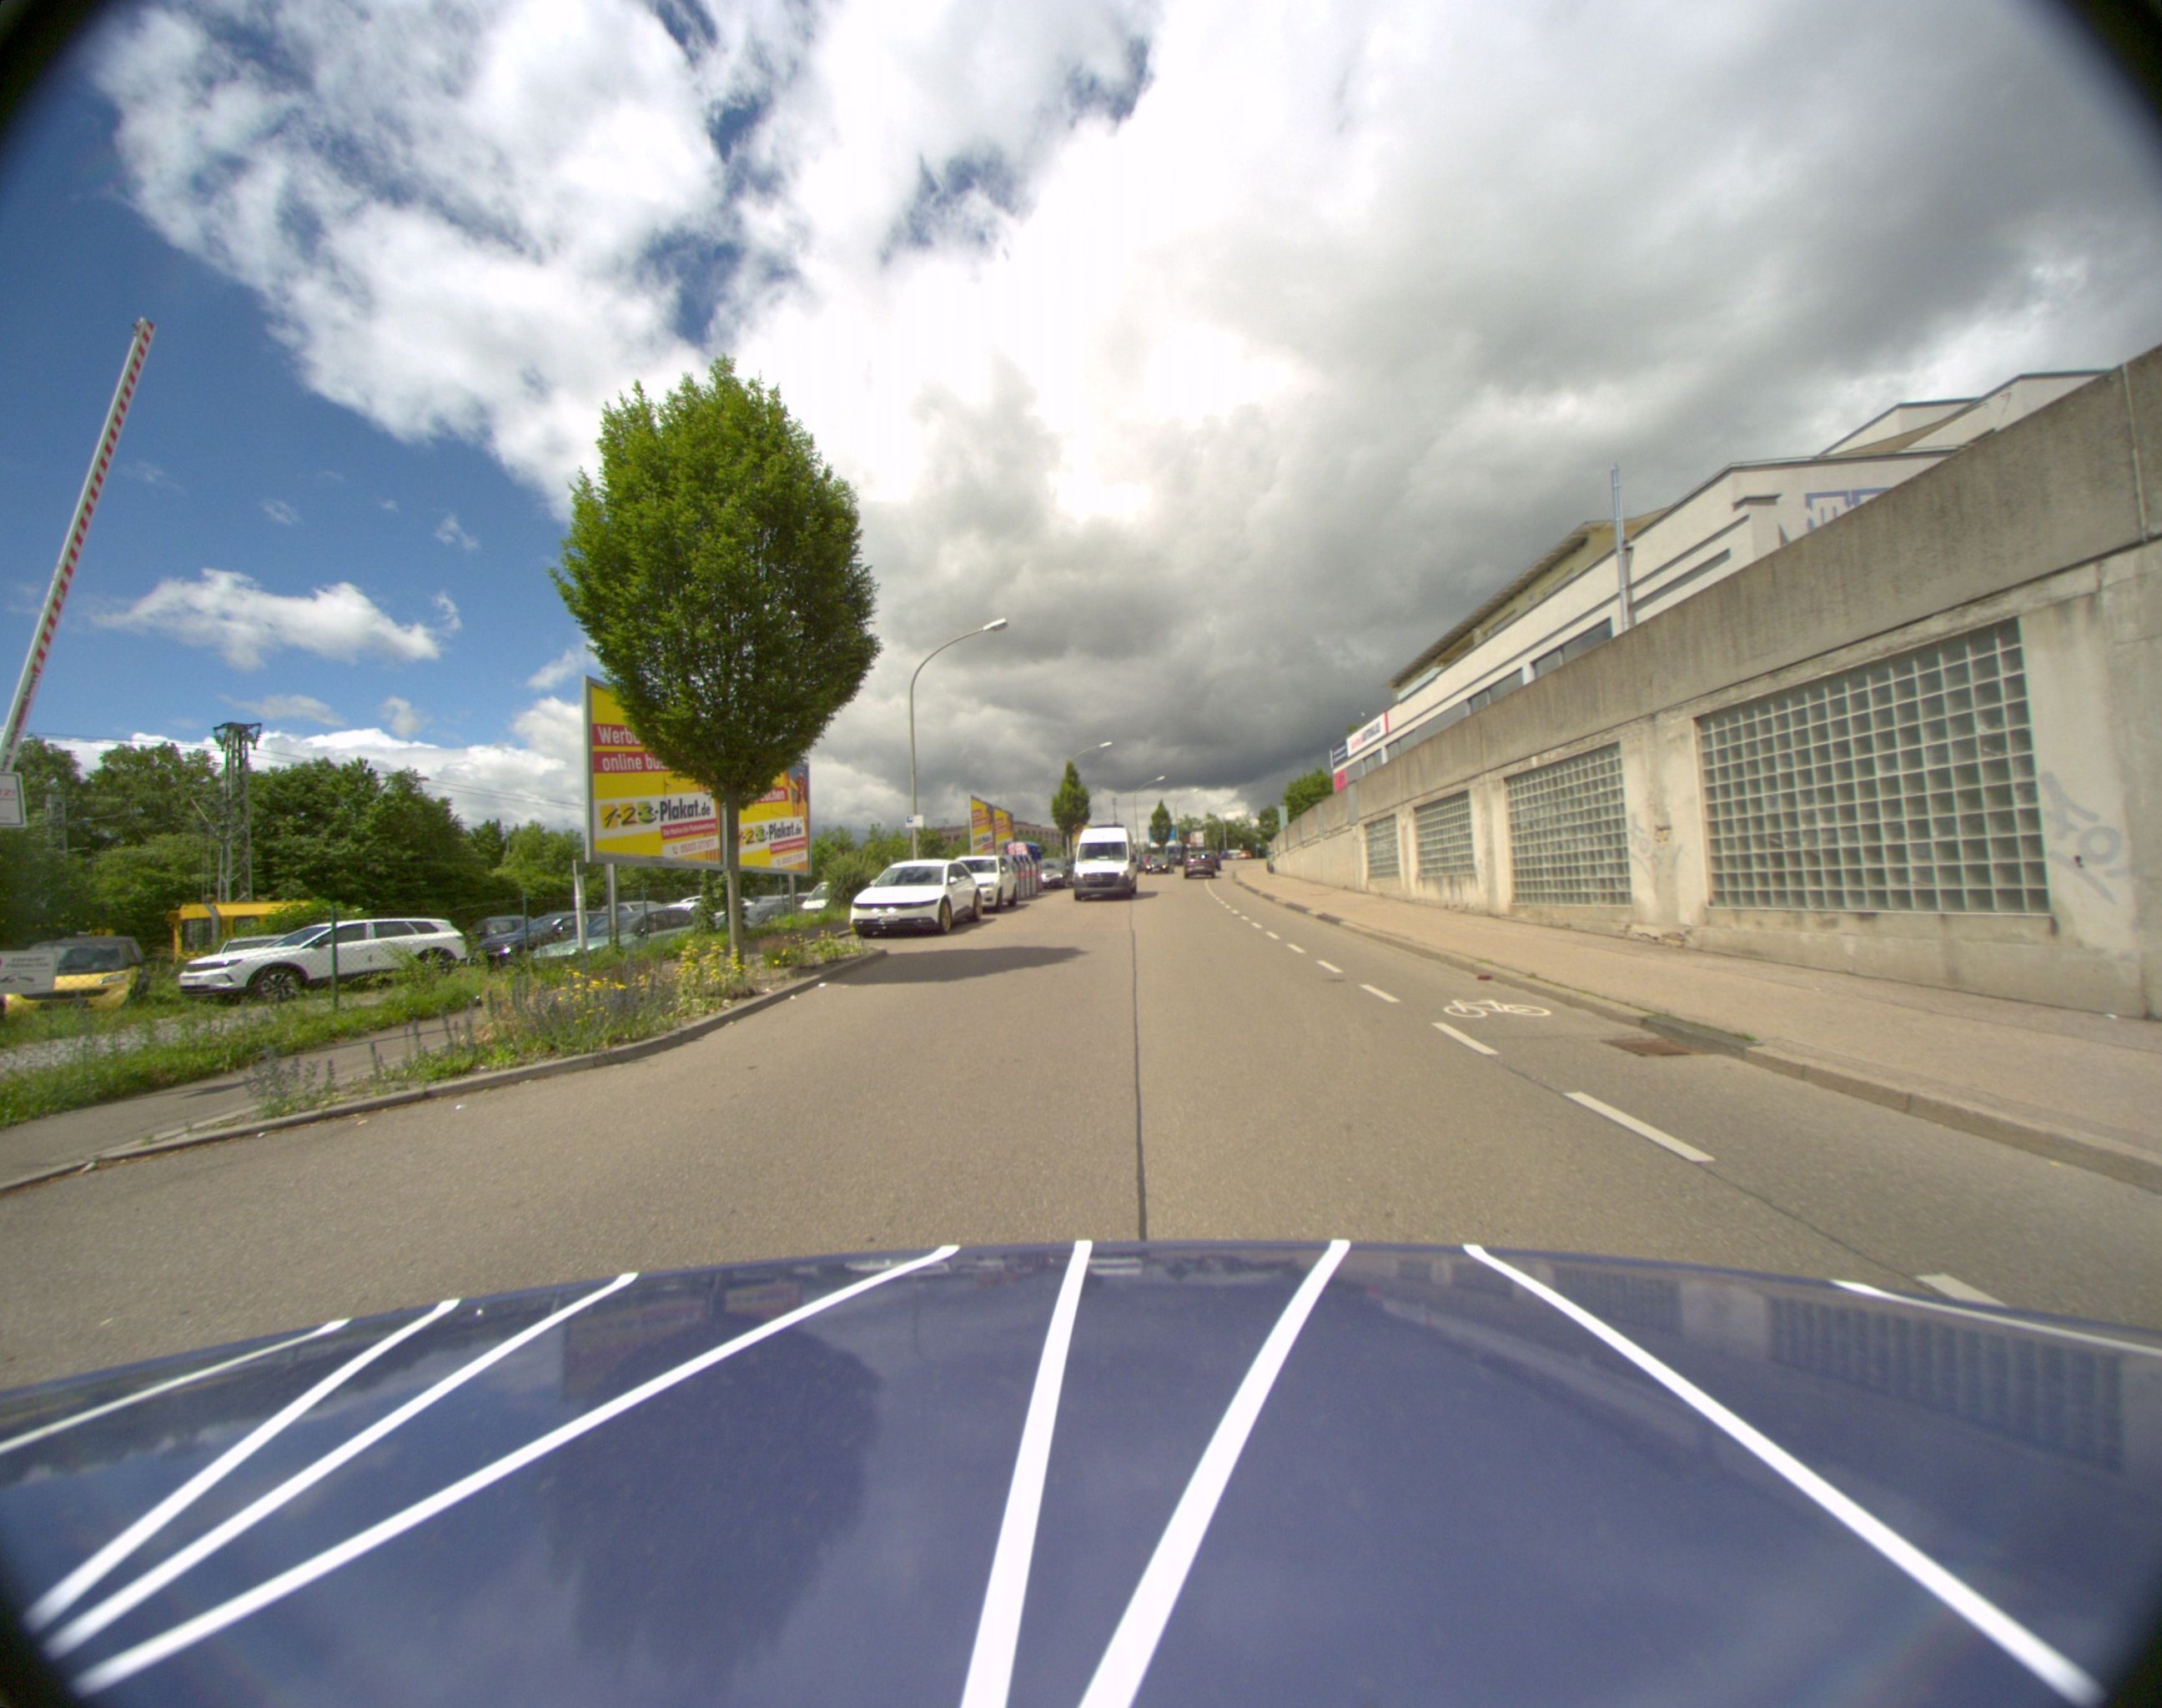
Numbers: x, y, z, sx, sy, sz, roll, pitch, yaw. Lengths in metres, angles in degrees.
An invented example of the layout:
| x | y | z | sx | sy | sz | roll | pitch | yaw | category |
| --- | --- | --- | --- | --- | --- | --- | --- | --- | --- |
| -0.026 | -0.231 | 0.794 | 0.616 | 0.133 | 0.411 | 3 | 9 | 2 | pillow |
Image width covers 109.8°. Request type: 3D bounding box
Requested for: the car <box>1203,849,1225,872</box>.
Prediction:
| x | y | z | sx | sy | sz | roll | pitch | yaw | category |
| --- | --- | --- | --- | --- | --- | --- | --- | --- | --- |
| 10.946 | 0.530 | 62.680 | 1.629 | 1.806 | 3.782 | -1 | 1 | 7 | car |

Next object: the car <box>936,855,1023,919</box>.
| x | y | z | sx | sy | sz | roll | pitch | yaw | category |
| --- | --- | --- | --- | --- | --- | --- | --- | --- | --- |
| -2.958 | 0.900 | 23.012 | 1.689 | 1.649 | 4.481 | -2 | 0 | 4 | car |

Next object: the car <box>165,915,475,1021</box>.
| x | y | z | sx | sy | sz | roll | pitch | yaw | category |
| --- | --- | --- | --- | --- | --- | --- | --- | --- | --- |
| -17.129 | 2.448 | 17.470 | 1.751 | 1.675 | 4.686 | -1 | 0 | 23 | car |

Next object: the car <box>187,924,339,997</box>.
| x | y | z | sx | sy | sz | roll | pitch | yaw | category |
| --- | --- | --- | --- | --- | --- | --- | --- | --- | --- |
| -21.101 | 2.660 | 19.565 | 4.176 | 1.382 | 1.793 | -1 | 1 | 31 | car |

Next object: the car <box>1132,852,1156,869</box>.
| x | y | z | sx | sy | sz | roll | pitch | yaw | category |
| --- | --- | --- | --- | --- | --- | --- | --- | --- | --- |
| 5.932 | 0.585 | 71.357 | 1.595 | 1.473 | 3.504 | -3 | 0 | 15 | car |

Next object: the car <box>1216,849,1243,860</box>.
| x | y | z | sx | sy | sz | roll | pitch | yaw | category |
| --- | --- | --- | --- | --- | --- | --- | --- | --- | --- |
| 31.052 | 0.064 | 158.641 | 5.133 | 1.958 | 1.959 | -3 | 1 | -14 | car |

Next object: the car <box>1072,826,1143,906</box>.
| x | y | z | sx | sy | sz | roll | pitch | yaw | category |
| --- | --- | --- | --- | --- | --- | --- | --- | --- | --- |
| 1.125 | 0.388 | 28.338 | 2.081 | 2.576 | 6.065 | -3 | 0 | 6 | car |

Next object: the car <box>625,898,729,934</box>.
| x | y | z | sx | sy | sz | roll | pitch | yaw | category |
| --- | --- | --- | --- | --- | --- | --- | --- | --- | --- |
| -17.100 | 2.622 | 32.147 | 3.990 | 1.322 | 1.758 | -2 | 0 | 25 | car |

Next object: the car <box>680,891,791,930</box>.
| x | y | z | sx | sy | sz | roll | pitch | yaw | category |
| --- | --- | --- | --- | --- | --- | --- | --- | --- | --- |
| -15.557 | 2.546 | 34.235 | 4.451 | 1.545 | 2.003 | -2 | 0 | 22 | car |

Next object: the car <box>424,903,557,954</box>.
| x | y | z | sx | sy | sz | roll | pitch | yaw | category |
| --- | --- | --- | --- | --- | --- | --- | --- | --- | --- |
| -19.411 | 2.393 | 24.966 | 4.033 | 1.382 | 1.747 | -1 | 1 | 25 | car |

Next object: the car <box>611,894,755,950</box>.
| x | y | z | sx | sy | sz | roll | pitch | yaw | category |
| --- | --- | --- | --- | --- | --- | --- | --- | --- | --- |
| -13.997 | 2.330 | 27.052 | 1.753 | 1.509 | 4.588 | -1 | 1 | 18 | car |

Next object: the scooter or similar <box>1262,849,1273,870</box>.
| x | y | z | sx | sy | sz | roll | pitch | yaw | category |
| --- | --- | --- | --- | --- | --- | --- | --- | --- | --- |
| 11.750 | 0.319 | 47.825 | 0.558 | 1.268 | 1.306 | -3 | 1 | 12 | scooter or similar |

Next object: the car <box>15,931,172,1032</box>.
| x | y | z | sx | sy | sz | roll | pitch | yaw | category |
| --- | --- | --- | --- | --- | --- | --- | --- | --- | --- |
| -19.499 | 2.415 | 15.157 | 4.031 | 1.382 | 1.527 | 0 | 1 | 43 | car |

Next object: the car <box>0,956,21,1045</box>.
| x | y | z | sx | sy | sz | roll | pitch | yaw | category |
| --- | --- | --- | --- | --- | --- | --- | --- | --- | --- |
| -17.112 | 2.290 | 10.483 | 1.747 | 1.381 | 4.034 | -2 | -2 | -37 | car |

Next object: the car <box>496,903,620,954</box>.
| x | y | z | sx | sy | sz | roll | pitch | yaw | category |
| --- | --- | --- | --- | --- | --- | --- | --- | --- | --- |
| -18.741 | 2.630 | 27.242 | 3.990 | 1.602 | 1.799 | -2 | 1 | 25 | car |

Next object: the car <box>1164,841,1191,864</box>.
| x | y | z | sx | sy | sz | roll | pitch | yaw | category |
| --- | --- | --- | --- | --- | --- | --- | --- | --- | --- |
| 11.267 | -0.207 | 88.491 | 2.057 | 2.579 | 5.741 | -3 | 0 | 18 | car |

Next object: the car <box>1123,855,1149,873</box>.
| x | y | z | sx | sy | sz | roll | pitch | yaw | category |
| --- | --- | --- | --- | --- | --- | --- | --- | --- | --- |
| 4.885 | 0.850 | 66.948 | 1.595 | 1.442 | 3.983 | -3 | 0 | 14 | car |

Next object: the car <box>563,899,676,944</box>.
| x | y | z | sx | sy | sz | roll | pitch | yaw | category |
| --- | --- | --- | --- | --- | --- | --- | --- | --- | --- |
| -18.166 | 2.616 | 29.919 | 3.990 | 1.550 | 1.825 | -2 | 1 | 25 | car |

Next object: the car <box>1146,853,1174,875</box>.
| x | y | z | sx | sy | sz | roll | pitch | yaw | category |
| --- | --- | --- | --- | --- | --- | --- | --- | --- | --- |
| 5.995 | 0.759 | 57.377 | 1.583 | 1.497 | 3.961 | -3 | 0 | 13 | car |

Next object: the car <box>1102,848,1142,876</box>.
| x | y | z | sx | sy | sz | roll | pitch | yaw | category |
| --- | --- | --- | --- | --- | --- | --- | --- | --- | --- |
| 3.300 | 0.569 | 59.923 | 1.978 | 1.992 | 5.552 | -3 | 0 | 14 | car |

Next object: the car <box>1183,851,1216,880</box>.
| x | y | z | sx | sy | sz | roll | pitch | yaw | category |
| --- | --- | --- | --- | --- | --- | --- | --- | --- | --- |
| 7.258 | 0.672 | 46.780 | 1.803 | 1.613 | 4.094 | -1 | 0 | 6 | car |

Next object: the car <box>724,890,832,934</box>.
| x | y | z | sx | sy | sz | roll | pitch | yaw | category |
| --- | --- | --- | --- | --- | --- | --- | --- | --- | --- |
| -12.561 | 2.384 | 31.806 | 1.696 | 1.438 | 4.159 | -3 | 0 | 23 | car |

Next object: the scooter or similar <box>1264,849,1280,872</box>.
| x | y | z | sx | sy | sz | roll | pitch | yaw | category |
| --- | --- | --- | --- | --- | --- | --- | --- | --- | --- |
| 11.076 | 0.379 | 44.092 | 0.520 | 1.268 | 1.383 | -5 | 0 | 2 | scooter or similar |

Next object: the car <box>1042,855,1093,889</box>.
| x | y | z | sx | sy | sz | roll | pitch | yaw | category |
| --- | --- | --- | --- | --- | --- | --- | --- | --- | --- |
| -0.604 | 0.849 | 37.389 | 1.658 | 1.477 | 4.047 | -1 | 1 | 11 | car |

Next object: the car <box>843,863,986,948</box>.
| x | y | z | sx | sy | sz | roll | pitch | yaw | category |
| --- | --- | --- | --- | --- | --- | --- | --- | --- | --- |
| -3.545 | 1.042 | 17.150 | 1.846 | 1.556 | 4.467 | -1 | 1 | 5 | car |

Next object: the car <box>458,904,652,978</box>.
| x | y | z | sx | sy | sz | roll | pitch | yaw | category |
| --- | --- | --- | --- | --- | --- | --- | --- | --- | --- |
| -15.386 | 2.475 | 22.547 | 1.814 | 1.612 | 4.469 | -1 | 1 | 19 | car |

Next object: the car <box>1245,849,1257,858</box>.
| x | y | z | sx | sy | sz | roll | pitch | yaw | category |
| --- | --- | --- | --- | --- | --- | --- | --- | --- | --- |
| 30.700 | -0.058 | 137.140 | 1.602 | 1.482 | 3.687 | -2 | 0 | 22 | car |
